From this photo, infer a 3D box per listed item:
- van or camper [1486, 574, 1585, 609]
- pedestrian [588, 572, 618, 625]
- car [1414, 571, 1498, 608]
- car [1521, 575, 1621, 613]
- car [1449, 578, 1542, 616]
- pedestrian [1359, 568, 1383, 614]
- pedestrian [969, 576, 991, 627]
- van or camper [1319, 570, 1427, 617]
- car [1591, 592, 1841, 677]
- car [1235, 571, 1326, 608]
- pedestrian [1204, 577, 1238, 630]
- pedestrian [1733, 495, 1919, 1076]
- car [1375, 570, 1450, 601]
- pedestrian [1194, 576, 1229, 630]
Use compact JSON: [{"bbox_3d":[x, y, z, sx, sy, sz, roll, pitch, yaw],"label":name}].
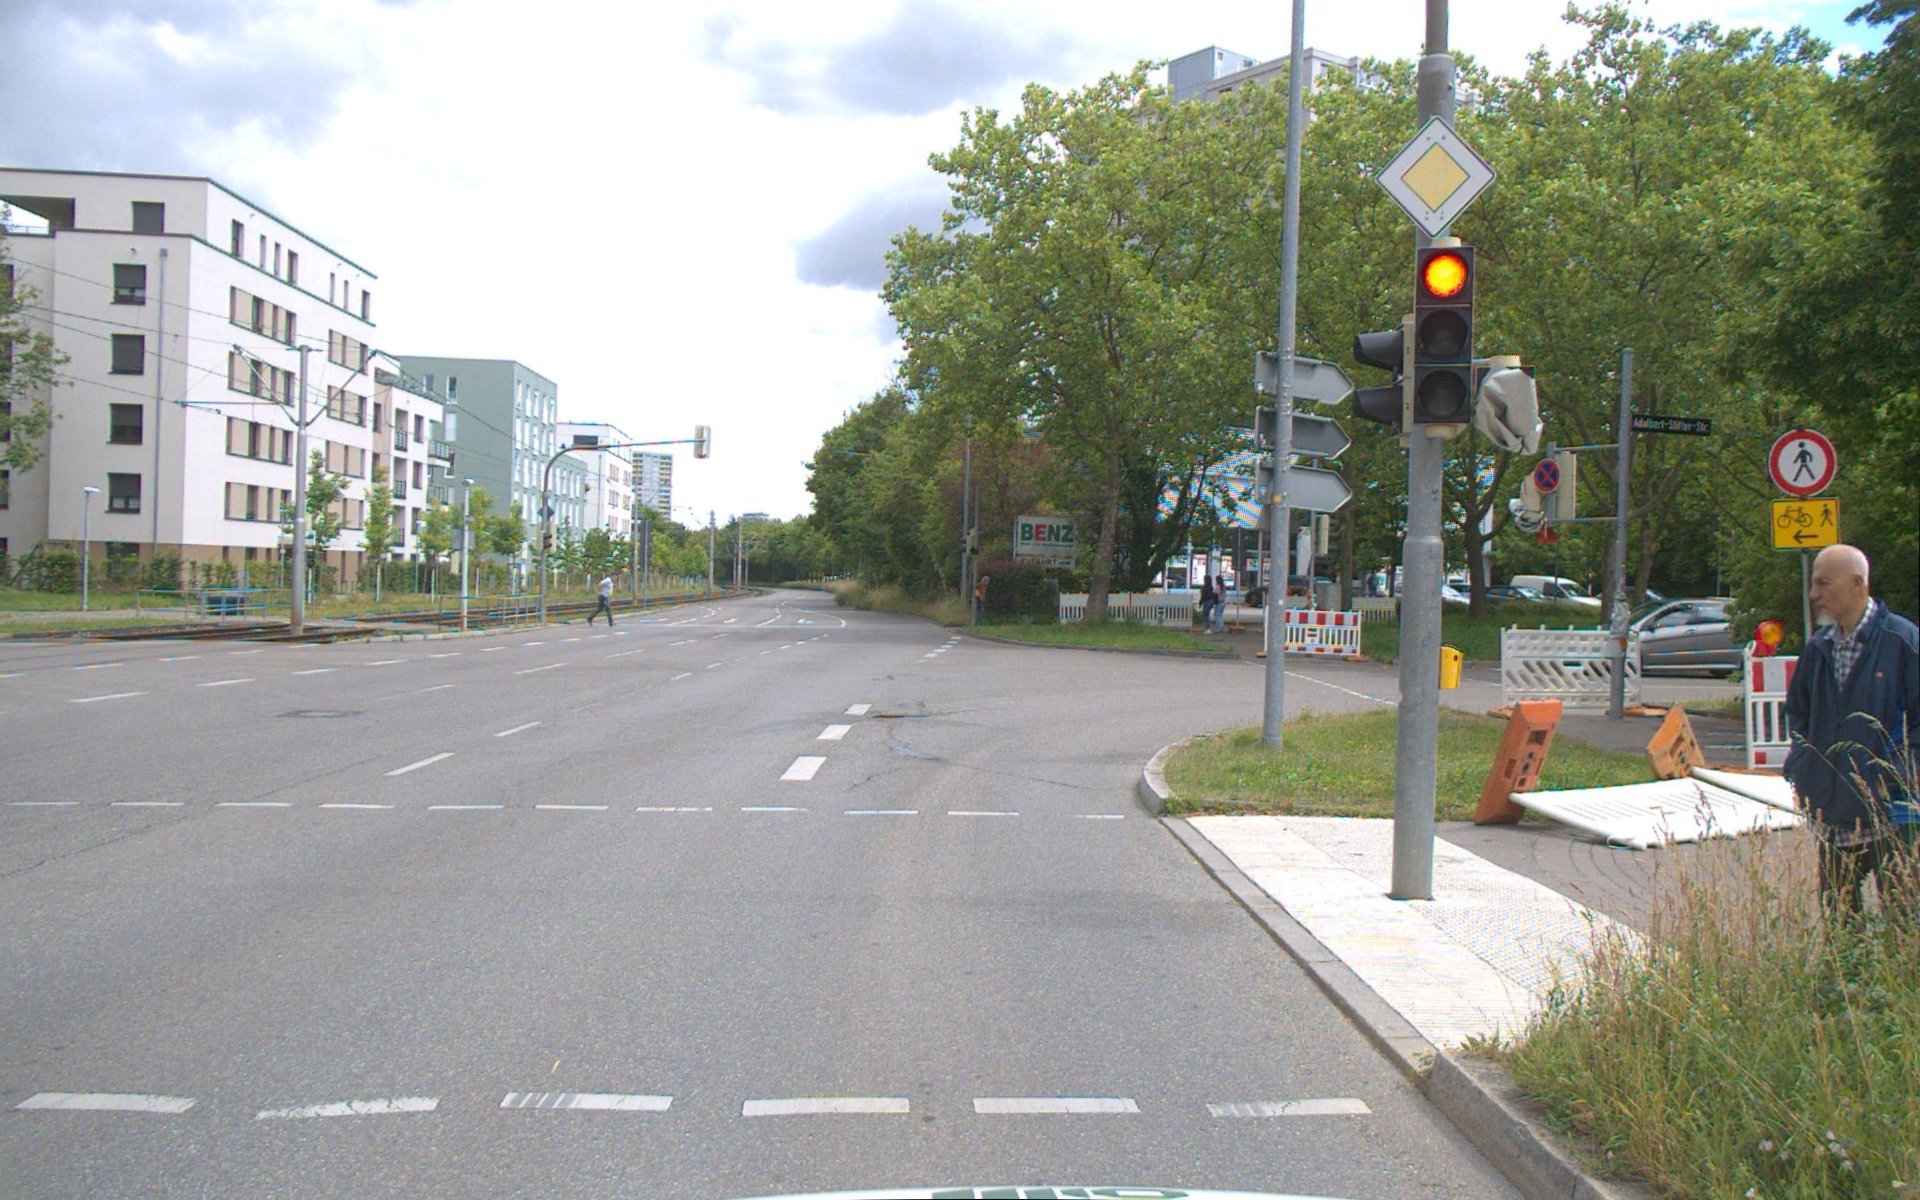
[{"bbox_3d":[23.596,-0.342,67.880,1.499,1.380,3.732,1,0,-33],"label":"van or camper"},{"bbox_3d":[-10.933,-0.042,50.681,0.833,1.614,0.794,1,-1,-9],"label":"pedestrian"},{"bbox_3d":[24.053,-0.501,80.247,1.650,1.663,3.783,1,1,-31],"label":"car"},{"bbox_3d":[25.543,-0.252,69.246,1.465,1.491,3.851,1,0,-31],"label":"car"},{"bbox_3d":[21.098,-0.122,65.249,1.464,1.429,3.375,1,0,-30],"label":"car"},{"bbox_3d":[18.628,-0.398,74.975,0.789,2.037,0.852,1,-1,-5],"label":"pedestrian"},{"bbox_3d":[0.628,0.040,51.812,0.640,1.565,0.772,1,-1,-1],"label":"pedestrian"},{"bbox_3d":[15.492,-0.259,62.228,1.819,1.713,3.964,0,1,-28],"label":"van or camper"},{"bbox_3d":[15.410,0.696,33.855,4.307,1.614,1.772,1,0,0],"label":"car"},{"bbox_3d":[14.063,-0.446,72.723,1.708,1.526,4.232,1,0,-27],"label":"car"},{"bbox_3d":[7.544,0.093,47.745,0.682,1.515,0.689,1,-1,-42],"label":"pedestrian"},{"bbox_3d":[3.129,0.562,5.509,0.716,1.770,0.949,1,0,45],"label":"pedestrian"},{"bbox_3d":[21.469,-0.689,78.549,1.465,1.429,3.372,1,0,-31],"label":"car"},{"bbox_3d":[7.149,0.088,46.951,0.715,1.515,0.688,1,-1,-45],"label":"pedestrian"}]
